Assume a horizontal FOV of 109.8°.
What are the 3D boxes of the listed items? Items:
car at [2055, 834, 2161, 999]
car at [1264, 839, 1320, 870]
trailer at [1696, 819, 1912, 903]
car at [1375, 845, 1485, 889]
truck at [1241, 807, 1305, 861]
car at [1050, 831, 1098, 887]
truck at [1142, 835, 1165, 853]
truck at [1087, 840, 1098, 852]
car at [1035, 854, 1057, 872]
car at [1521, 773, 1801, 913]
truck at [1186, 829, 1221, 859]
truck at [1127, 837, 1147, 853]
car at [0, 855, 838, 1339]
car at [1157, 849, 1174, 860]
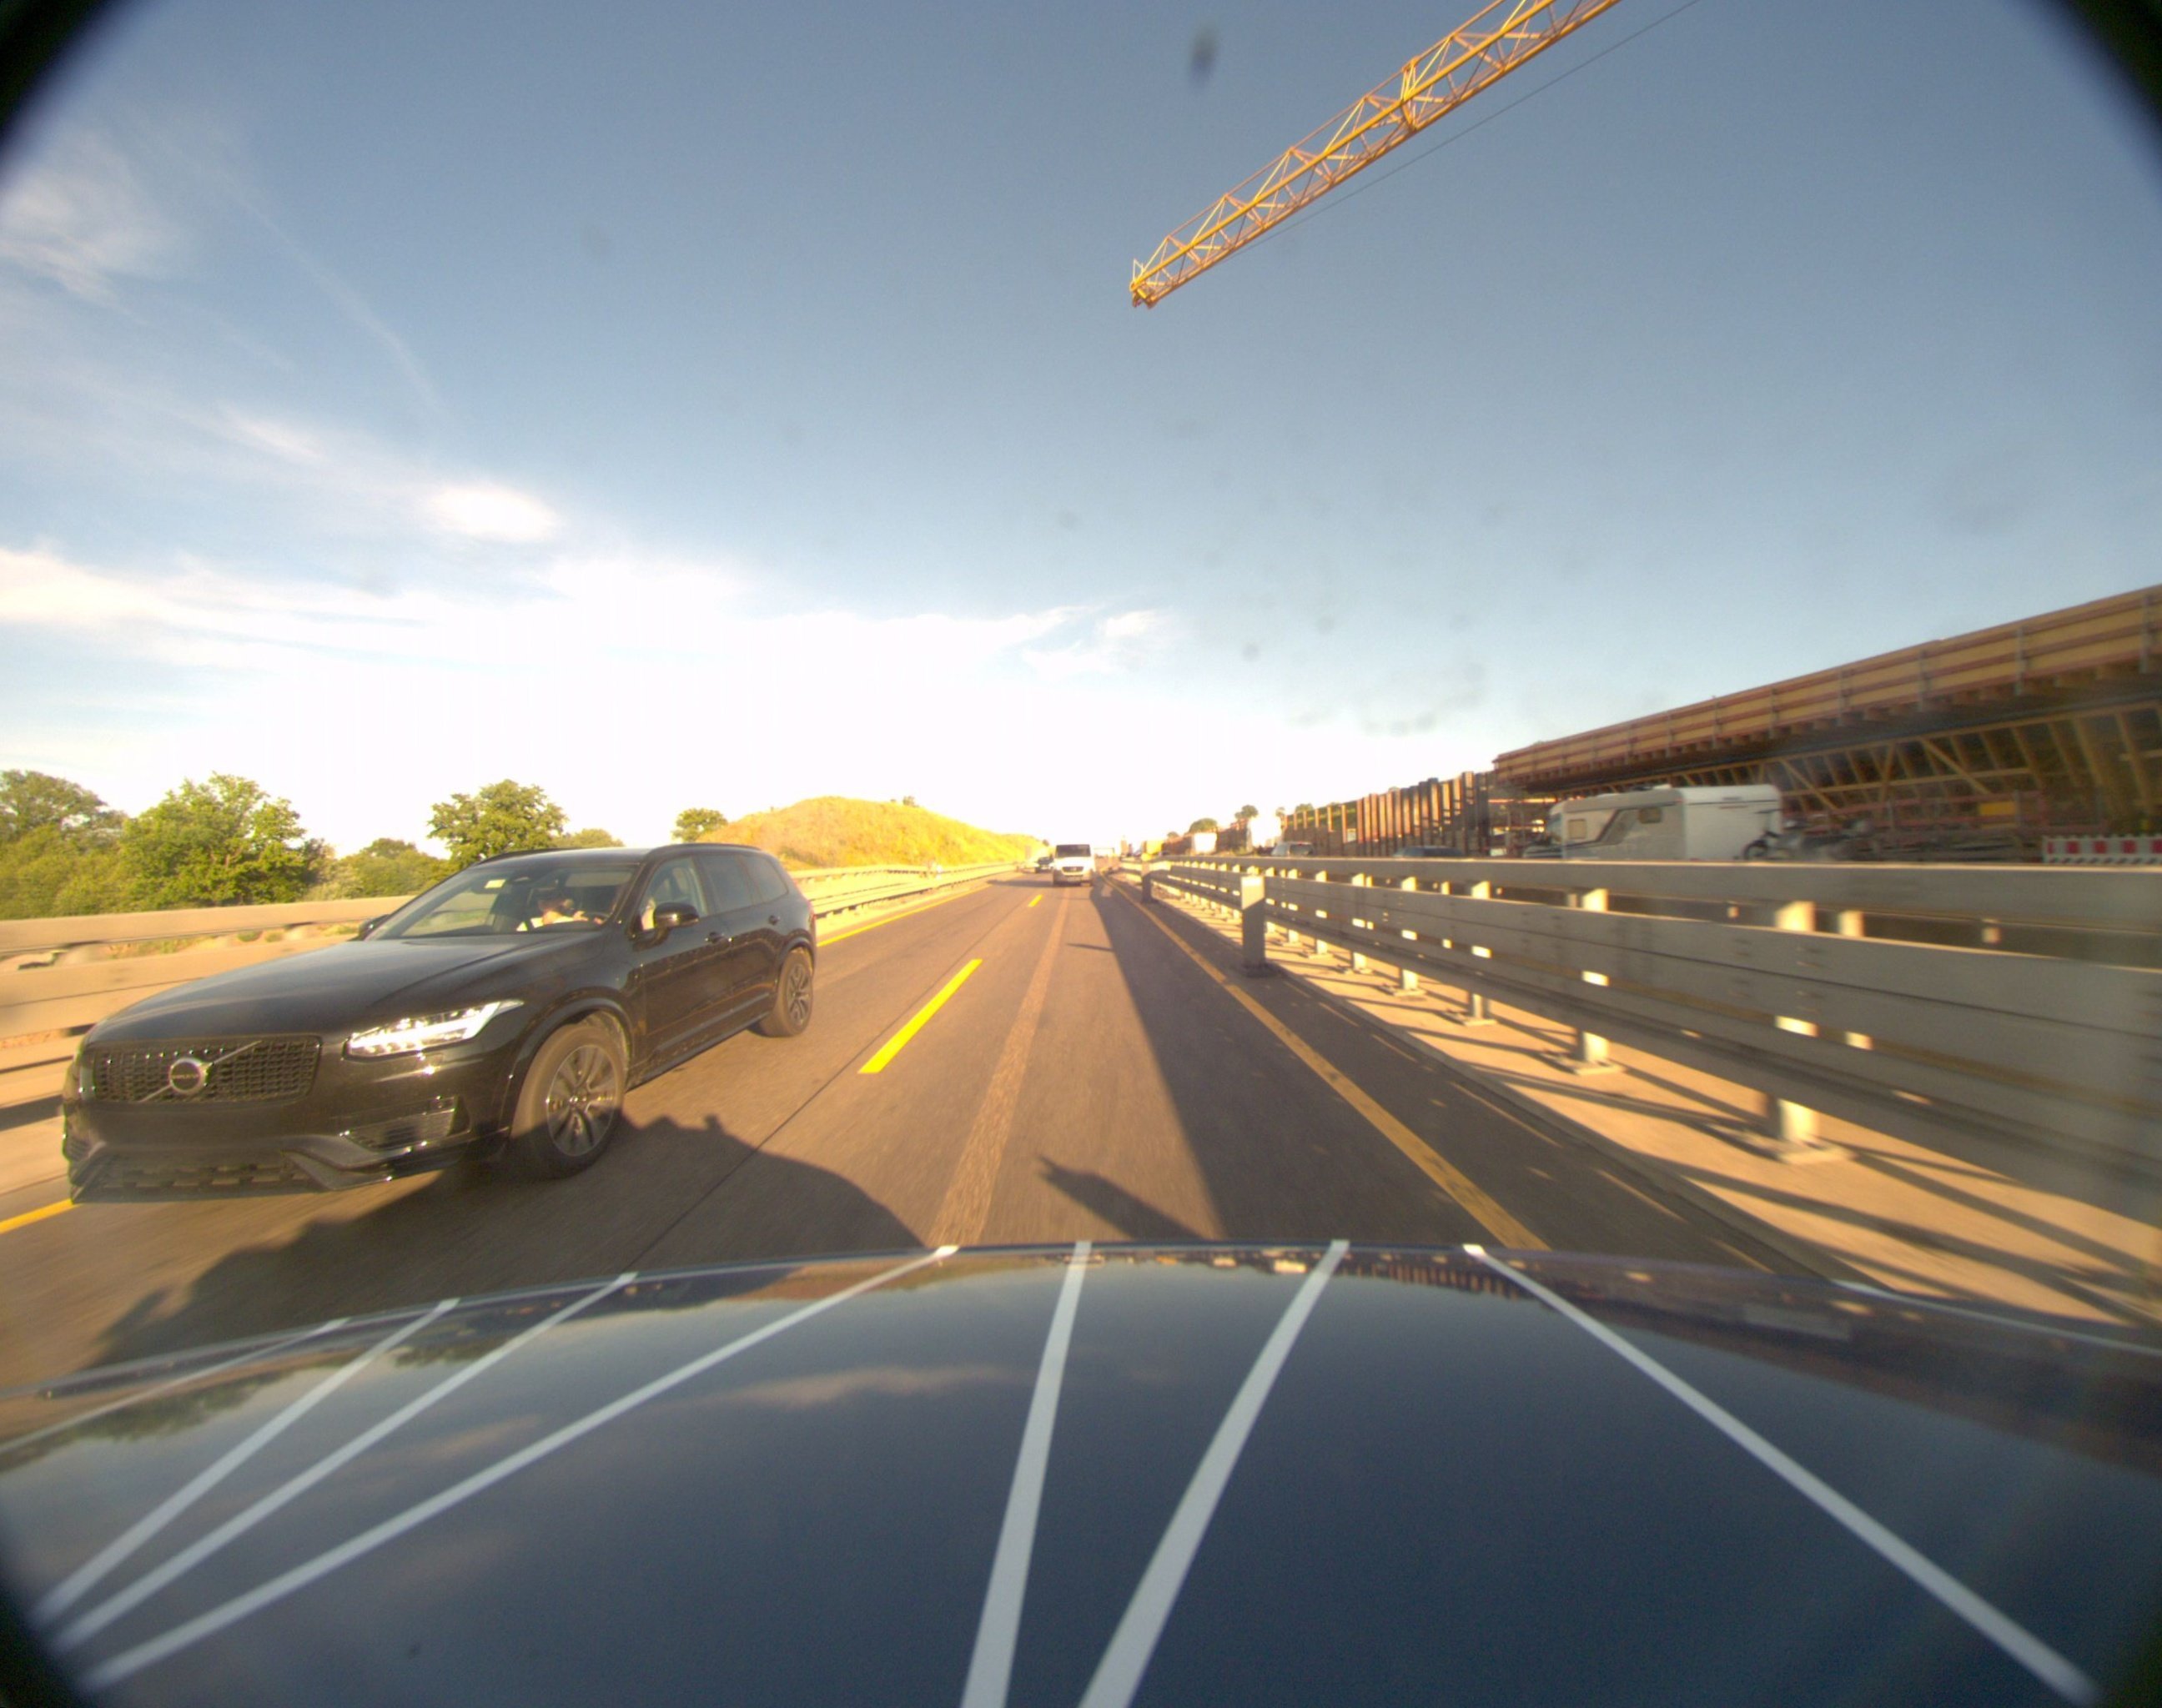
[{"bbox_3d":[11.458,0.604,6.195,1.734,1.591,4.112,-2,1,0],"label":"car"},{"bbox_3d":[11.085,0.000,40.254,1.620,1.511,4.111,-2,1,-3],"label":"car"},{"bbox_3d":[14.574,0.125,15.468,2.328,1.504,2.144,-2,1,-2],"label":"trailer"},{"bbox_3d":[11.469,0.378,25.279,1.734,1.270,4.112,-2,1,0],"label":"car"},{"bbox_3d":[14.164,-1.422,56.563,2.796,3.704,7.162,-2,1,0],"label":"truck"},{"bbox_3d":[-0.285,0.221,37.834,2.110,2.518,5.219,-2,1,1],"label":"car"},{"bbox_3d":[13.973,-1.940,147.895,3.344,3.224,10.971,-2,1,0],"label":"truck"},{"bbox_3d":[2.279,-1.610,154.164,1.999,2.109,7.561,-3,0,-1],"label":"truck"},{"bbox_3d":[-3.118,0.778,68.857,1.791,1.477,3.999,-2,1,0],"label":"car"},{"bbox_3d":[14.443,-0.261,19.659,2.334,2.950,6.161,-2,1,-2],"label":"car"},{"bbox_3d":[14.102,-1.186,88.018,2.774,3.224,7.162,-2,1,0],"label":"truck"},{"bbox_3d":[13.819,-2.304,187.713,3.921,3.729,9.725,-2,1,0],"label":"truck"},{"bbox_3d":[-3.481,0.920,5.268,1.902,1.703,4.887,-2,1,1],"label":"car"},{"bbox_3d":[13.615,0.099,122.335,1.999,1.630,3.998,-2,1,-4],"label":"car"}]
